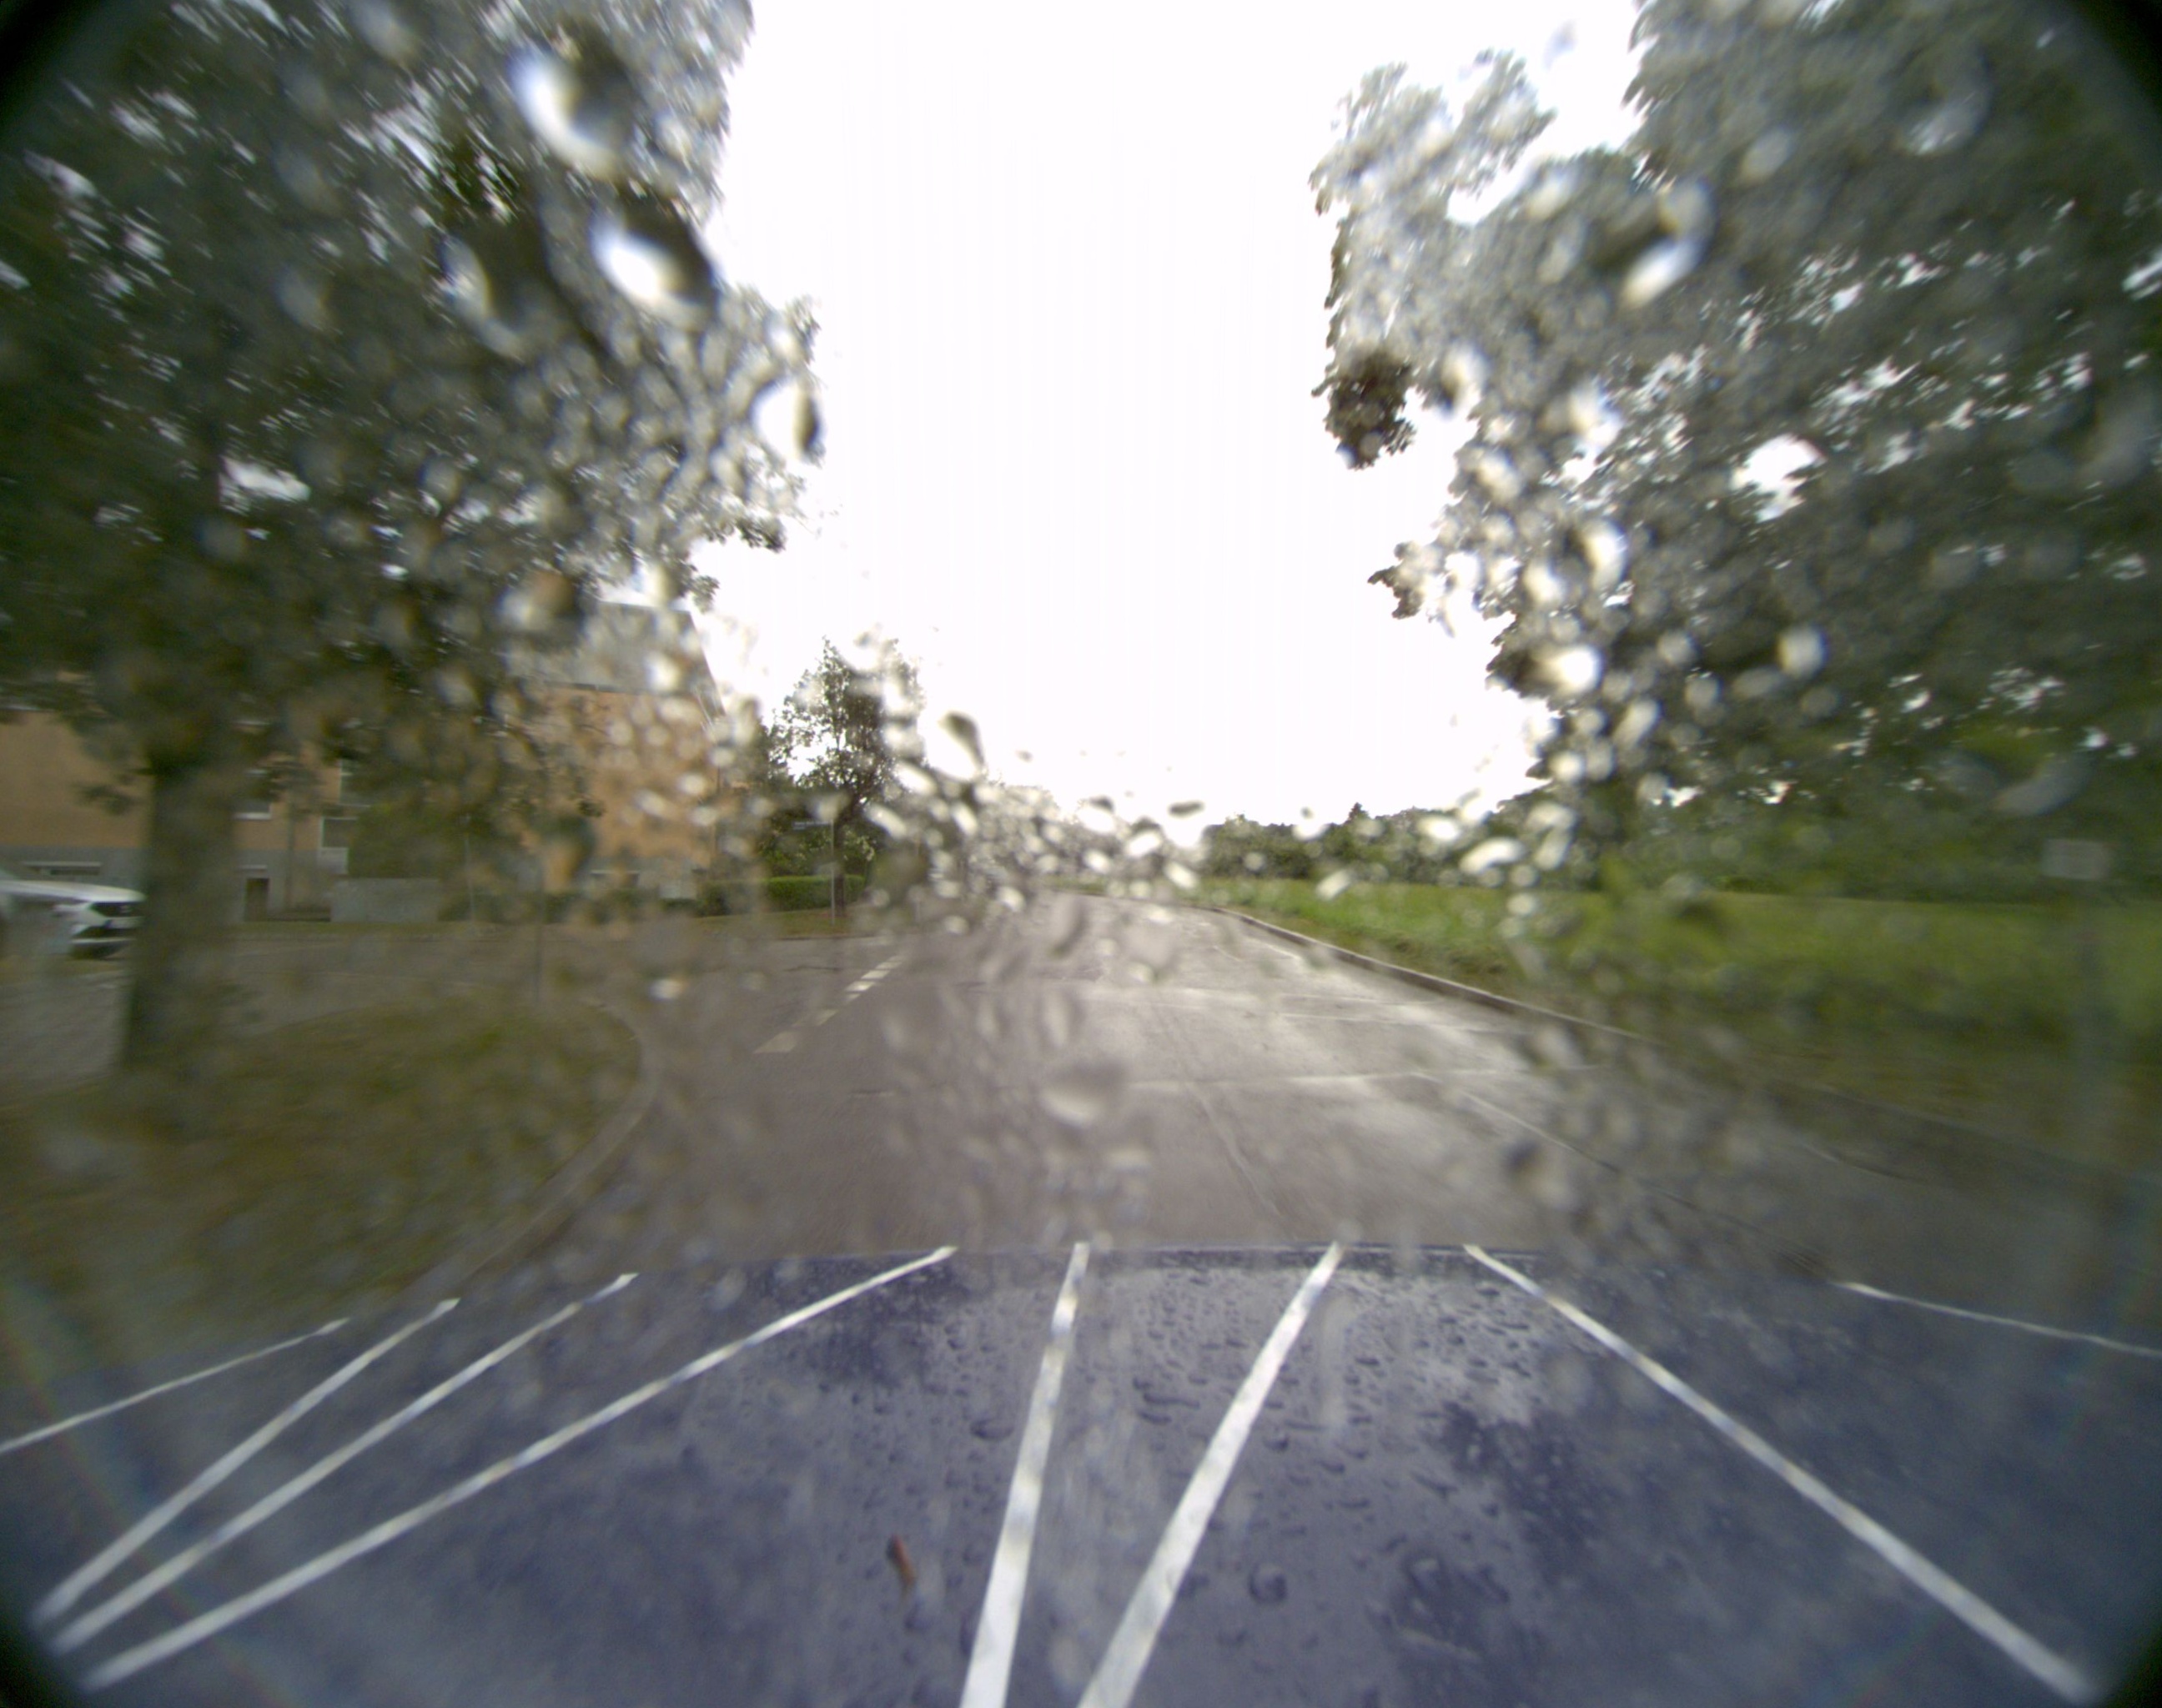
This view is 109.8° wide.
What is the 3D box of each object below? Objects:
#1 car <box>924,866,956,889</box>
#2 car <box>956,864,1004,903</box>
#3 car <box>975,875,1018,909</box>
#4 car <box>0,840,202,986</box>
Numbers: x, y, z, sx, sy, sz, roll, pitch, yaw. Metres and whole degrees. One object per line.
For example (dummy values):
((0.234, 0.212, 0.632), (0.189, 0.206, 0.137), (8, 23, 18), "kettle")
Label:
((-11.615, 1.885, 62.435), (1.827, 1.775, 3.812), (1, 0, -23), "car")
((-6.455, 1.843, 48.182), (2.056, 2.317, 5.400), (0, -2, -18), "car")
((-4.793, 2.079, 42.394), (1.818, 1.716, 4.647), (0, -1, -14), "car")
((-15.359, 0.689, 9.915), (4.718, 1.803, 1.944), (2, -1, -16), "car")
